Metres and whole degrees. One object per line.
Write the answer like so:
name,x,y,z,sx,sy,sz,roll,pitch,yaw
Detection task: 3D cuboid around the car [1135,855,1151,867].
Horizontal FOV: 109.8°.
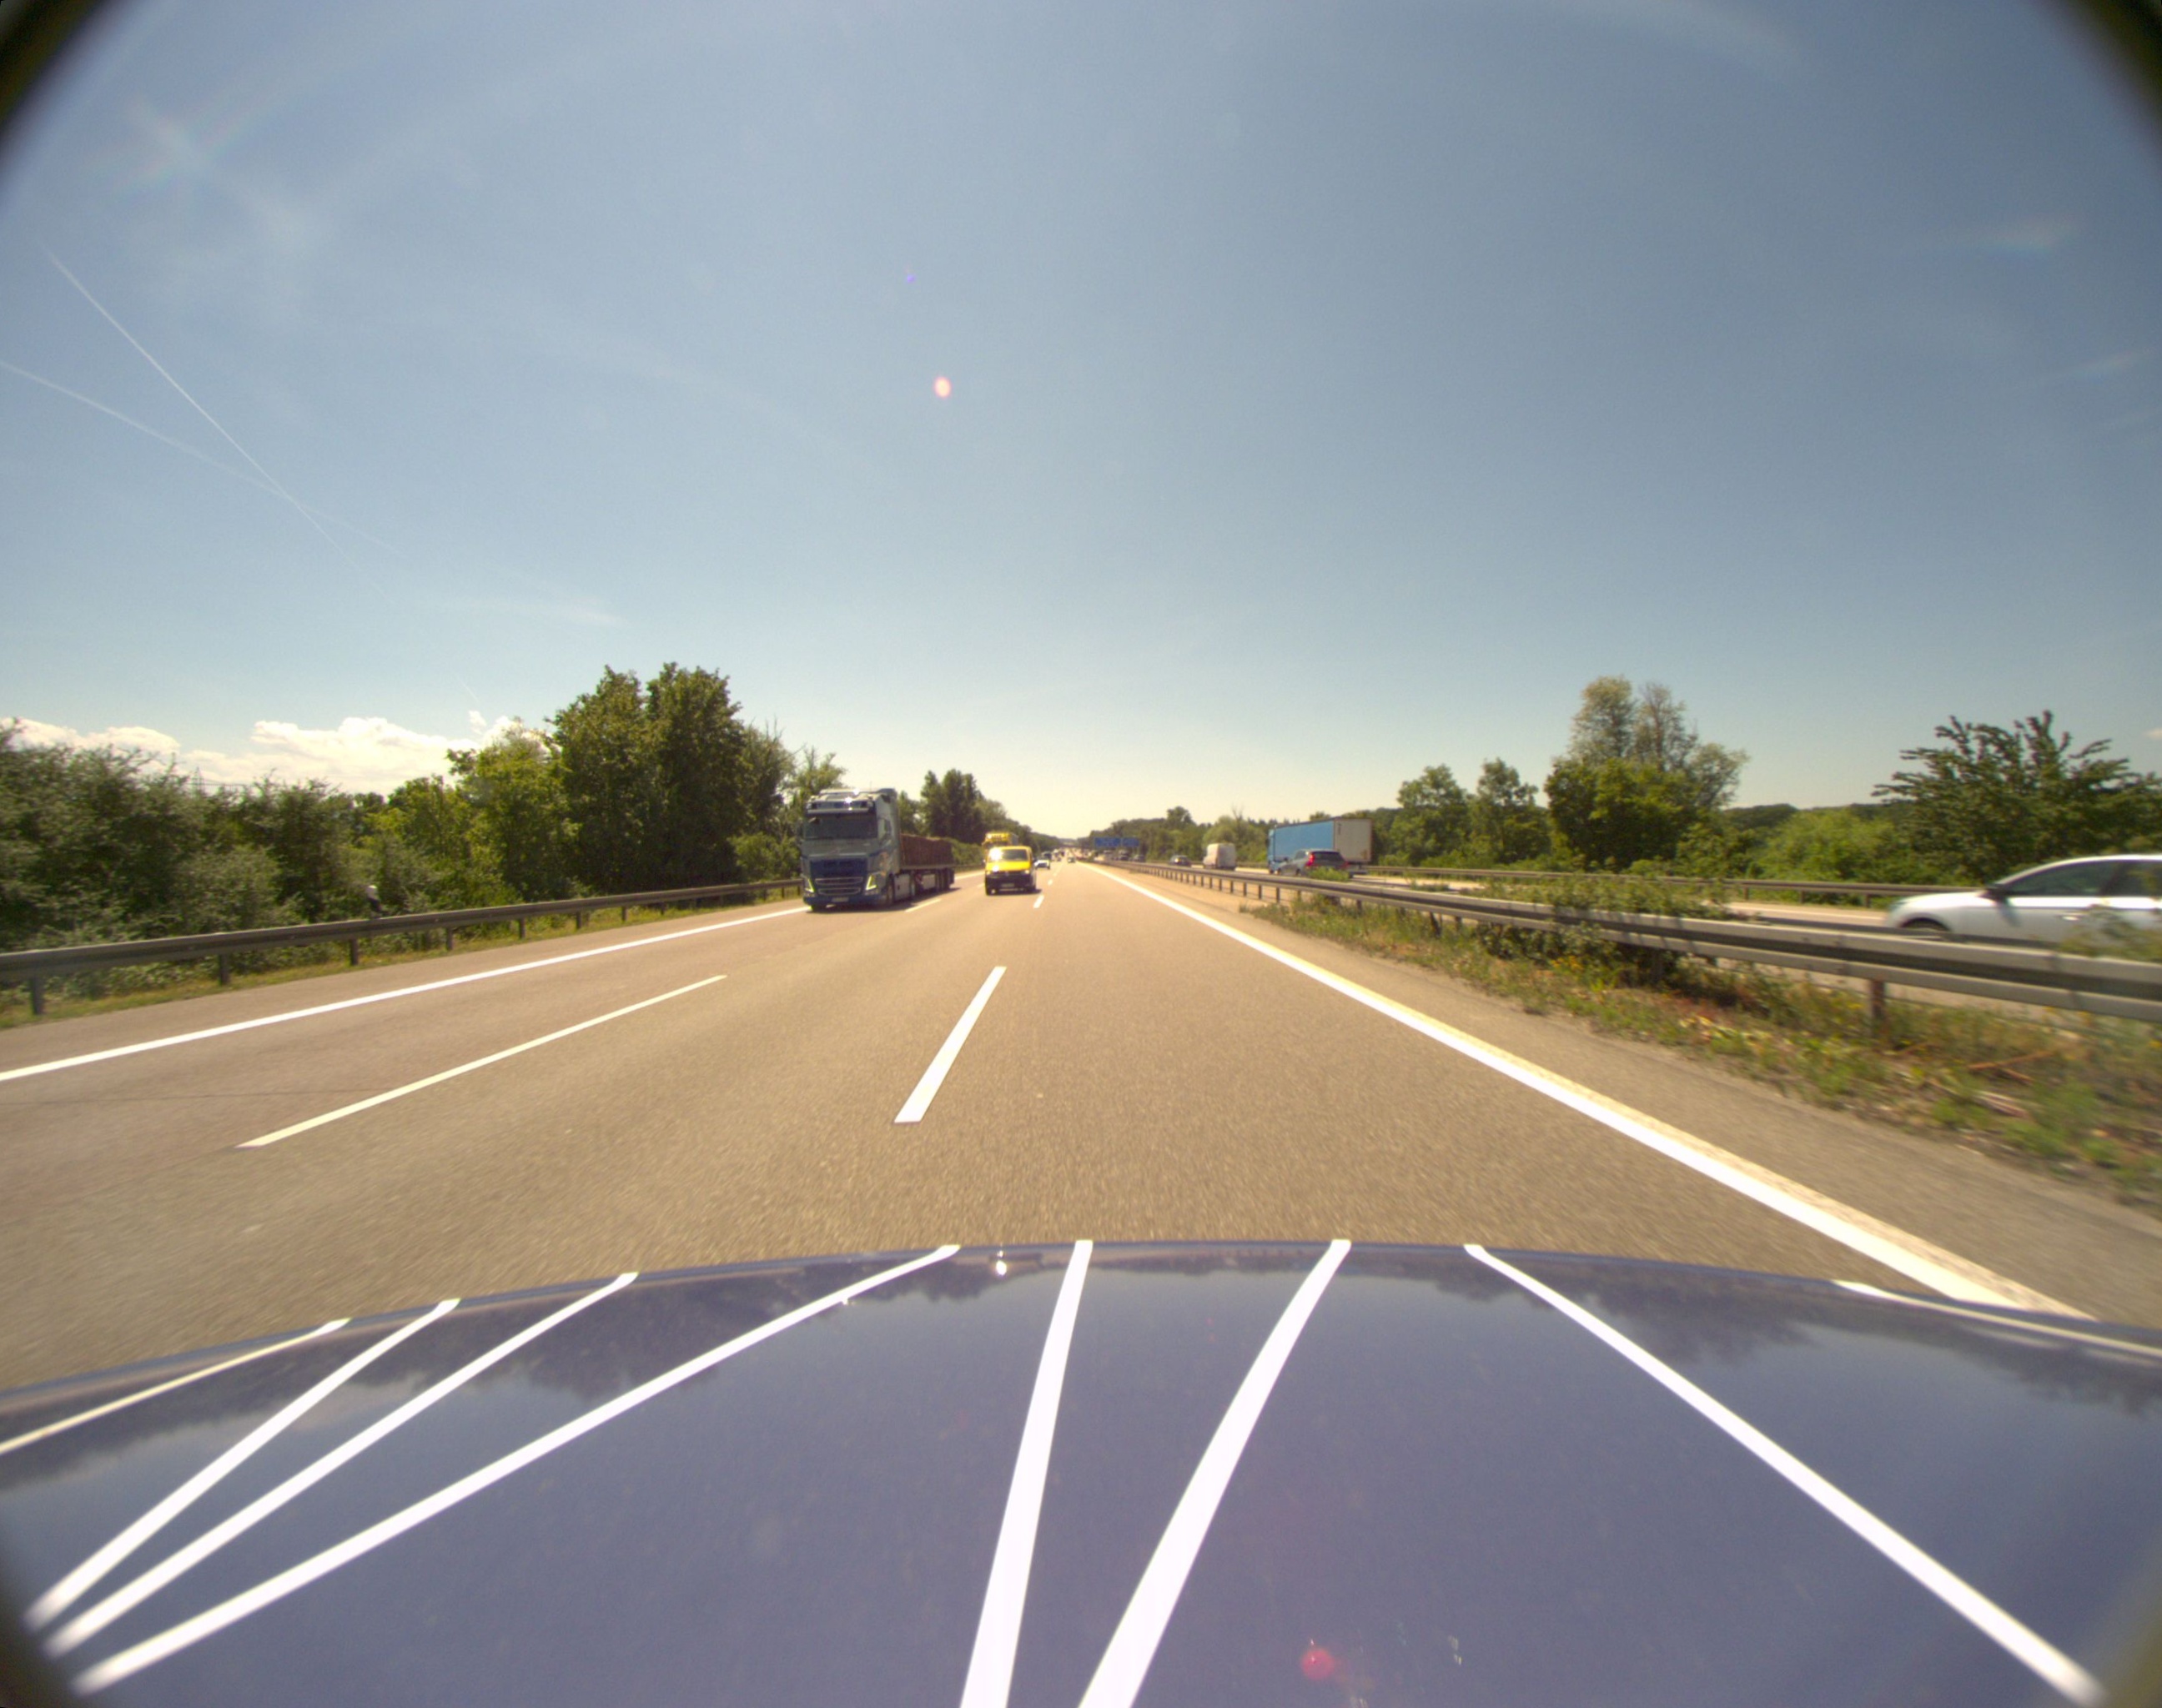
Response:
car,9.299,1.073,113.688,1.999,1.680,4.407,0,0,-1

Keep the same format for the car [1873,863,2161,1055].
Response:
car,10.976,0.989,7.508,1.999,1.720,4.092,0,0,-1

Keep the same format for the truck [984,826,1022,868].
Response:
truck,-8.482,-0.766,84.595,2.853,4.233,16.787,-1,1,-1

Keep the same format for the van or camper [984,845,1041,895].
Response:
van or camper,-2.804,0.629,32.164,1.999,1.898,4.970,-2,0,-1

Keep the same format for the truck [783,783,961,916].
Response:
truck,-7.631,-0.207,31.300,2.977,3.934,16.608,-2,1,-1

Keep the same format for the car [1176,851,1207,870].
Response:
car,9.821,0.562,67.736,1.999,1.680,4.407,1,0,-1

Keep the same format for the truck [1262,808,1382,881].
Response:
truck,17.654,-0.648,57.817,3.234,4.693,16.856,2,0,-1

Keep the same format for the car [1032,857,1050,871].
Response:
car,-4.570,1.129,87.641,1.845,1.565,3.999,-2,1,-1

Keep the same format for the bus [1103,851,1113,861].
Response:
bus,9.602,0.748,273.295,2.701,3.562,12.791,1,0,-1

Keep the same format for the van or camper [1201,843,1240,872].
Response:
van or camper,12.987,0.279,71.224,1.999,2.551,7.033,2,0,-2

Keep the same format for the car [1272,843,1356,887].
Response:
car,9.836,0.418,32.512,1.999,1.720,5.107,0,0,-1

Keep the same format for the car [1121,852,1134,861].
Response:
car,8.831,0.448,144.811,1.999,1.595,4.599,-5,0,-1
